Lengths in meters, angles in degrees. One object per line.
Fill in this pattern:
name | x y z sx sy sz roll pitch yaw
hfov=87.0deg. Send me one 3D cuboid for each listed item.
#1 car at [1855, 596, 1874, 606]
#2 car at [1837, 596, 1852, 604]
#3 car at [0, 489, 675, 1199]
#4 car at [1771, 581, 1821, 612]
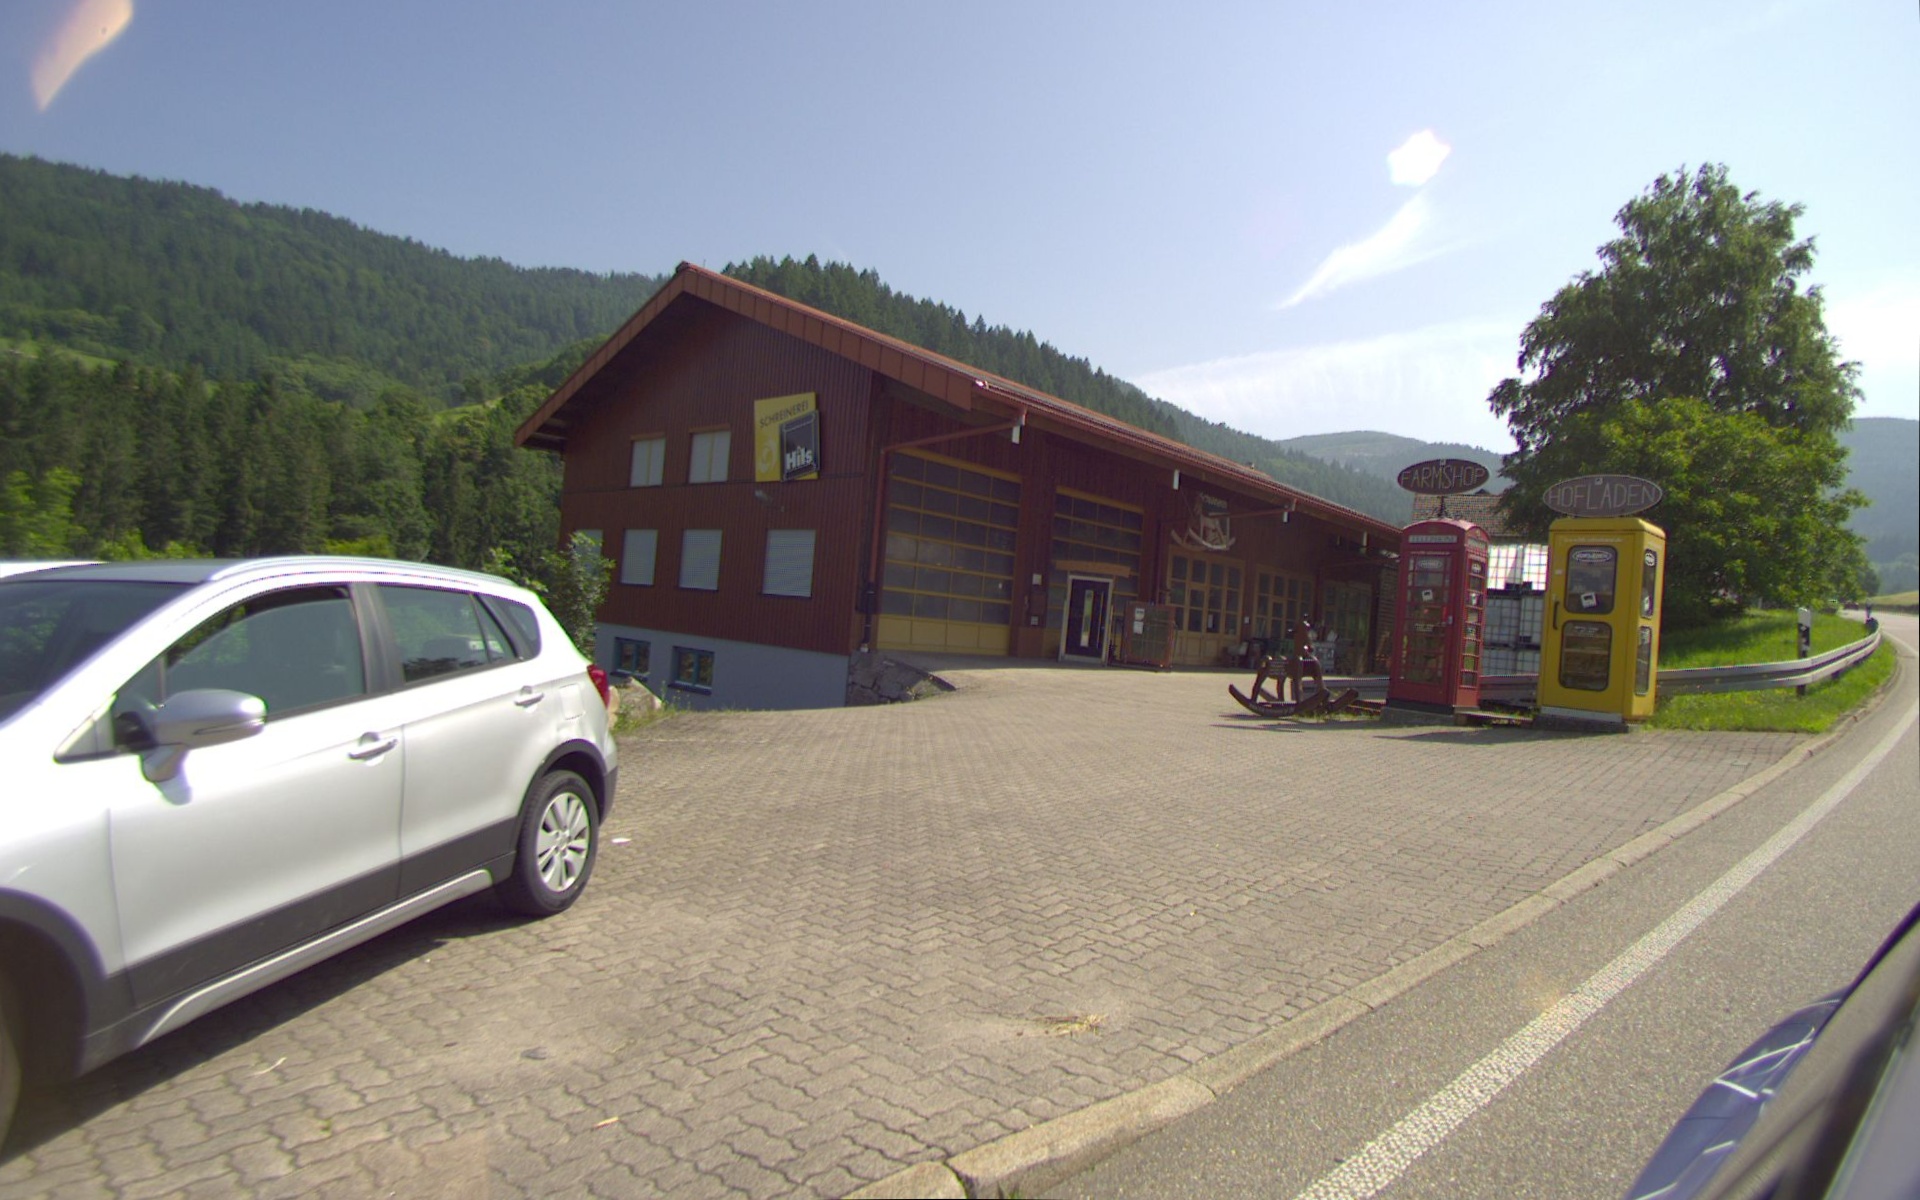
car | 136.150 0.149 152.313 1.808 1.527 4.203 2 2 38
car | 163.058 0.012 186.625 1.807 1.527 4.205 2 2 38
car | -2.856 0.598 3.567 1.874 1.591 4.449 -2 -1 9
car | 53.380 -0.224 64.595 4.584 1.835 1.812 0 3 -43
